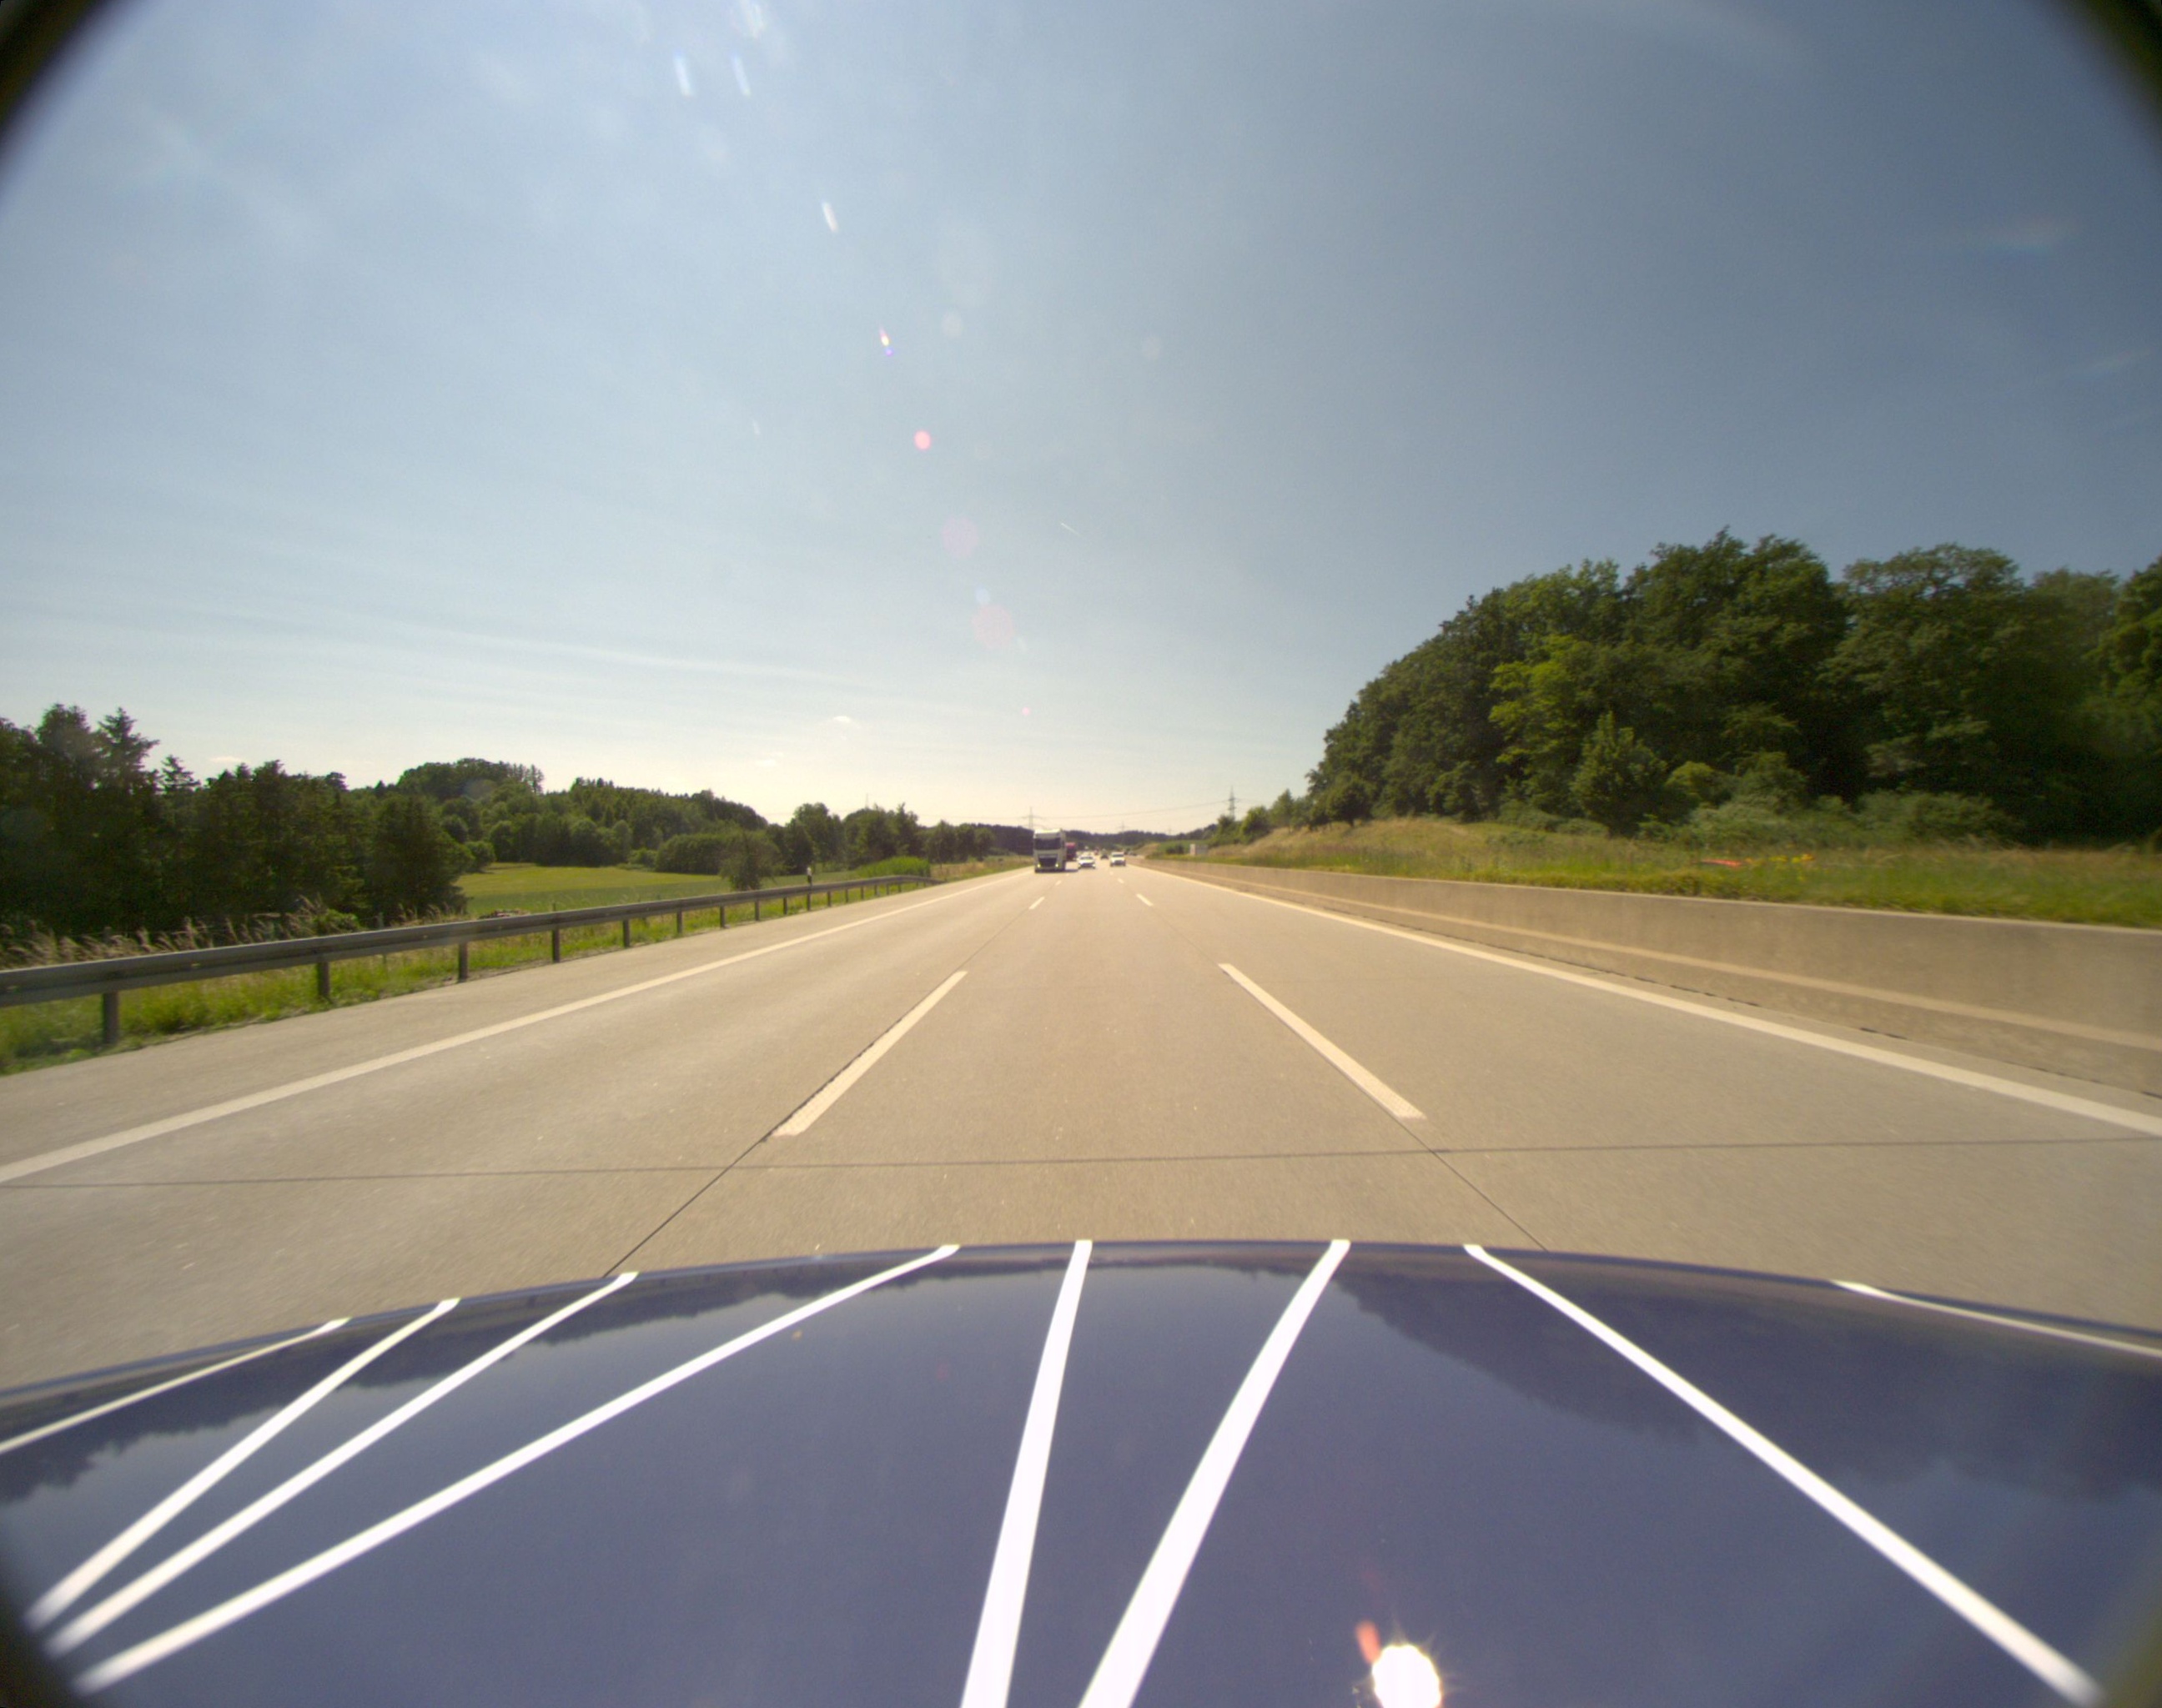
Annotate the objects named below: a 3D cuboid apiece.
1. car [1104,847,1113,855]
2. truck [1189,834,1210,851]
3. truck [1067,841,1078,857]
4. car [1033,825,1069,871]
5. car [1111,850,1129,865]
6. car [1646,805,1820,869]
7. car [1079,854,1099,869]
[{"bbox_3d":[6.704,-0.731,185.848,1.998,1.836,6.529,-3,1,1],"label":"car"},{"bbox_3d":[23.232,-2.263,149.204,2.902,3.333,8.258,0,1,1],"label":"truck"},{"bbox_3d":[-1.828,-1.080,163.379,2.351,3.474,5.245,-1,1,0],"label":"truck"},{"bbox_3d":[-2.732,-0.612,72.856,2.766,4.029,10.852,-1,1,1],"label":"car"},{"bbox_3d":[4.788,0.419,93.760,1.850,1.698,6.035,-2,1,1],"label":"car"},{"bbox_3d":[20.380,-0.490,24.016,1.998,1.733,4.000,-4,0,1],"label":"car"},{"bbox_3d":[0.872,0.790,82.375,2.065,1.472,5.068,-5,0,0],"label":"car"}]
